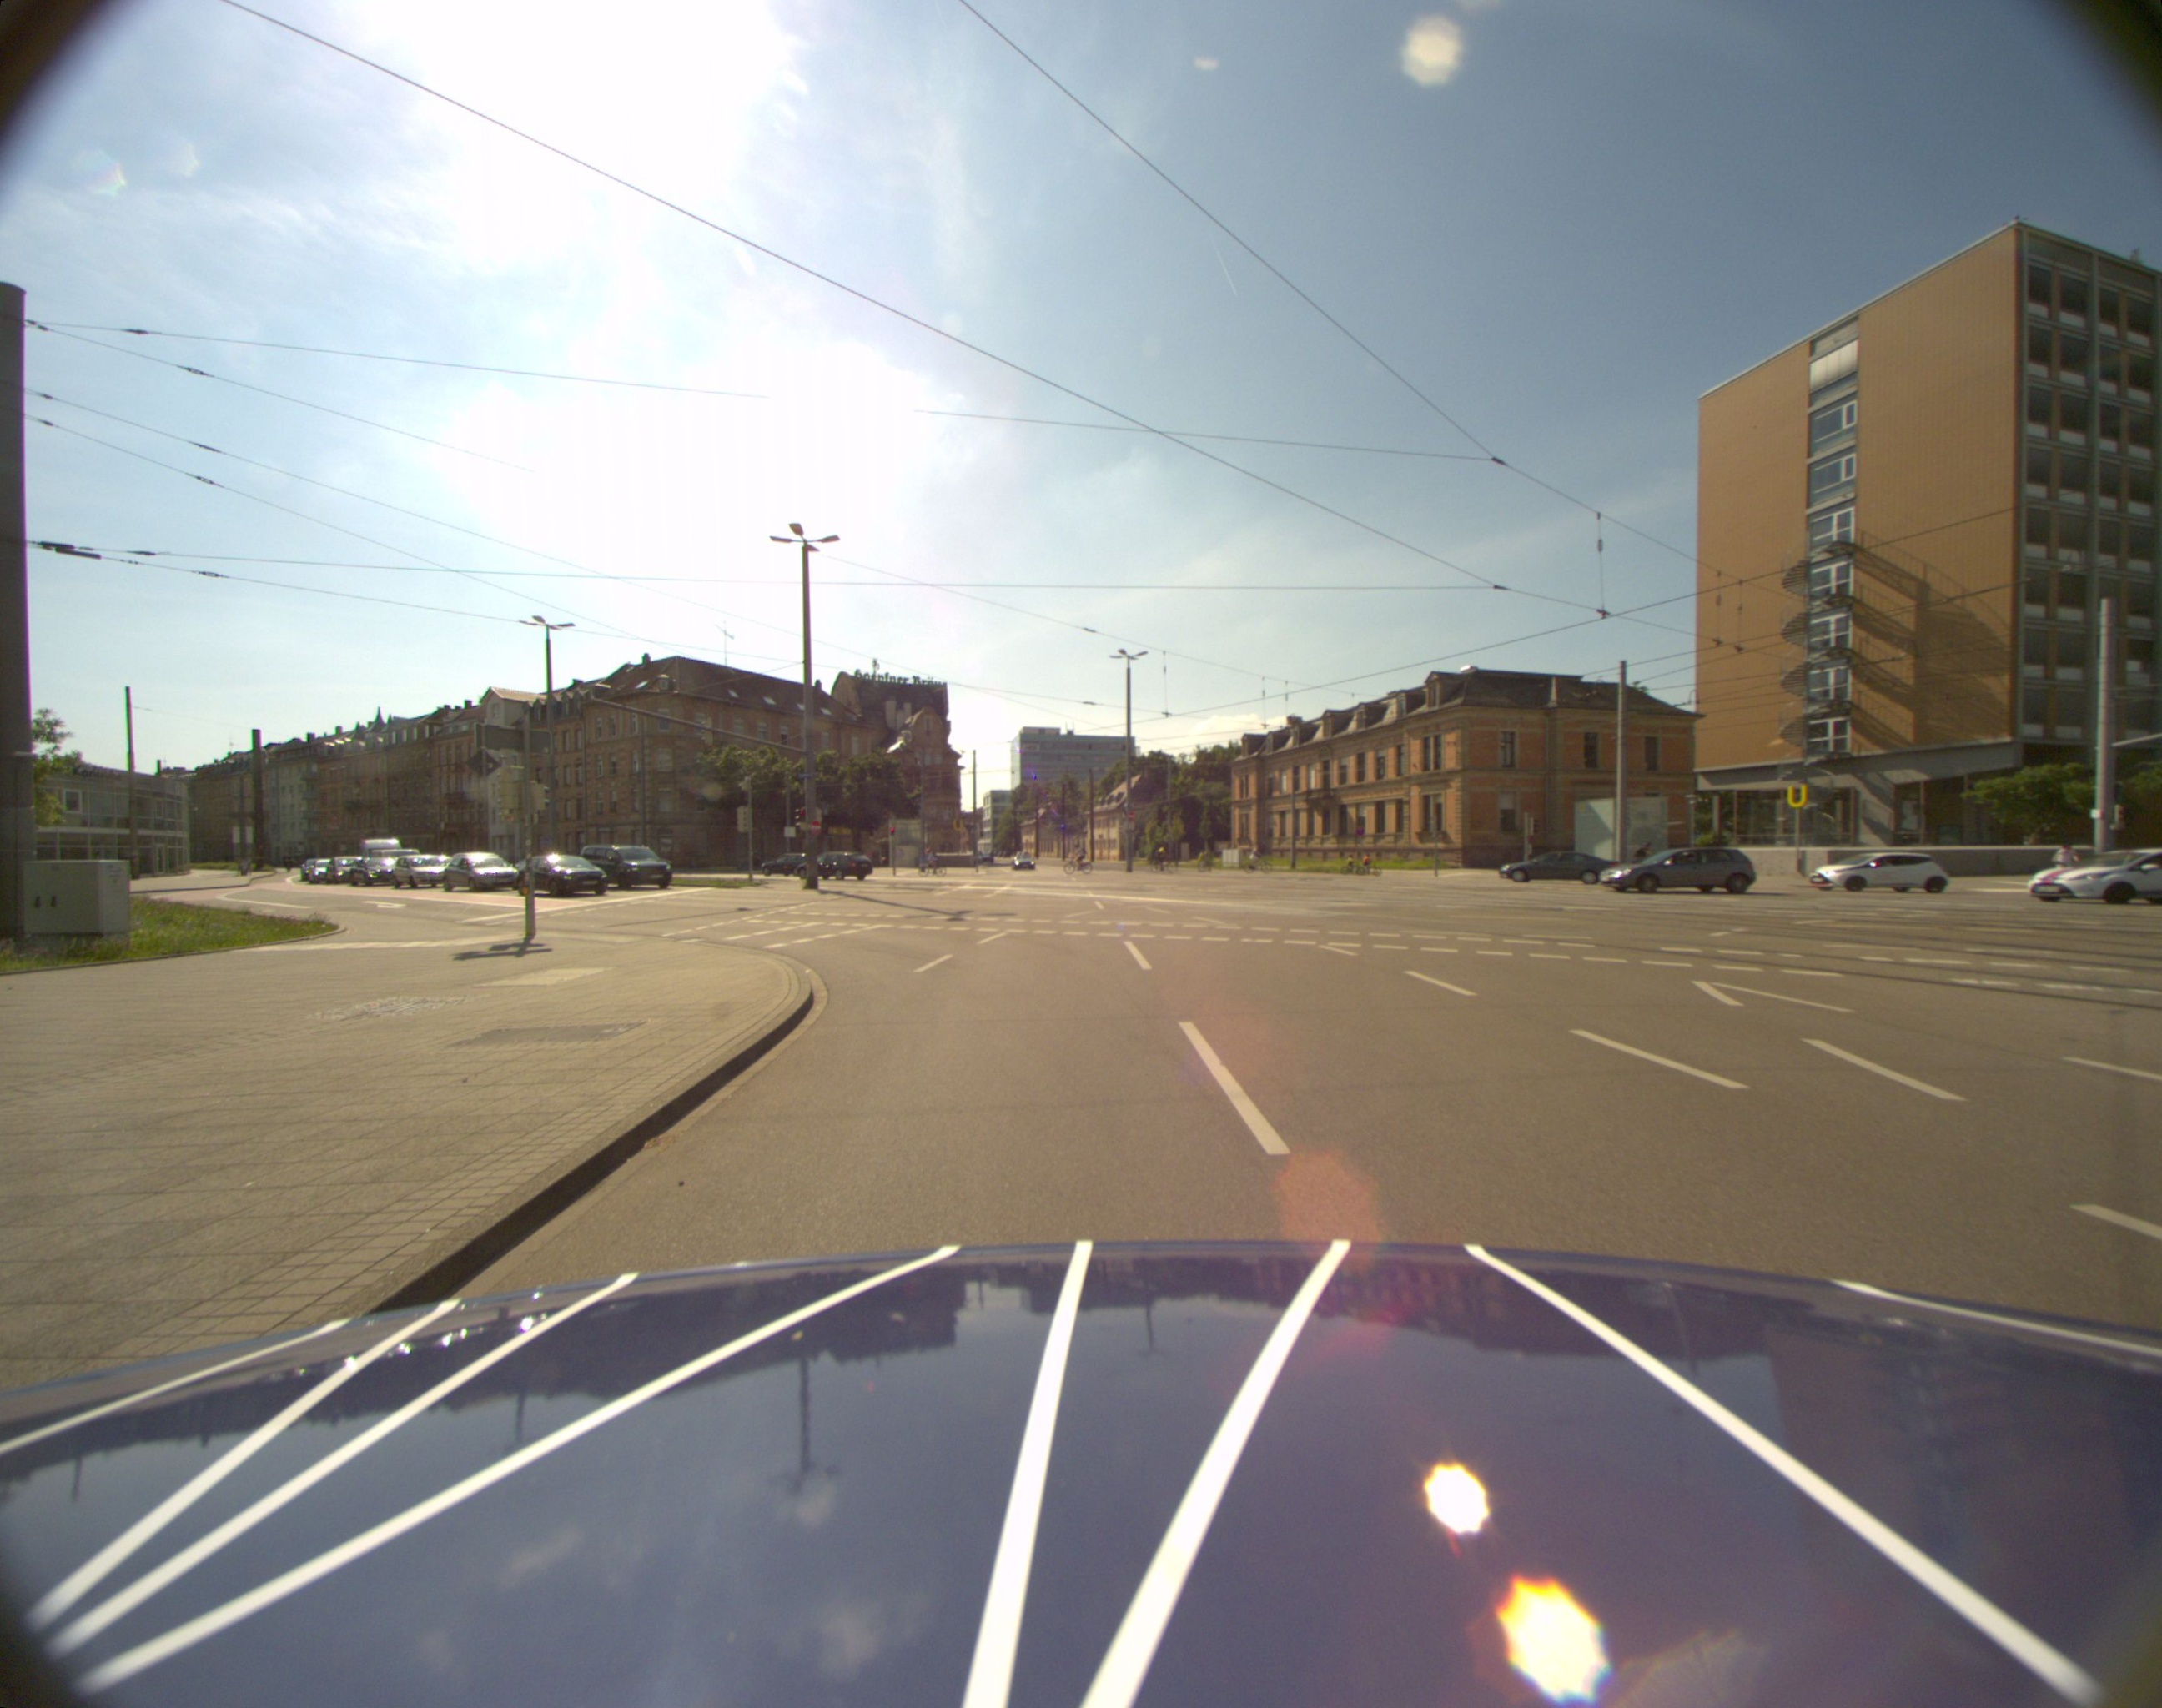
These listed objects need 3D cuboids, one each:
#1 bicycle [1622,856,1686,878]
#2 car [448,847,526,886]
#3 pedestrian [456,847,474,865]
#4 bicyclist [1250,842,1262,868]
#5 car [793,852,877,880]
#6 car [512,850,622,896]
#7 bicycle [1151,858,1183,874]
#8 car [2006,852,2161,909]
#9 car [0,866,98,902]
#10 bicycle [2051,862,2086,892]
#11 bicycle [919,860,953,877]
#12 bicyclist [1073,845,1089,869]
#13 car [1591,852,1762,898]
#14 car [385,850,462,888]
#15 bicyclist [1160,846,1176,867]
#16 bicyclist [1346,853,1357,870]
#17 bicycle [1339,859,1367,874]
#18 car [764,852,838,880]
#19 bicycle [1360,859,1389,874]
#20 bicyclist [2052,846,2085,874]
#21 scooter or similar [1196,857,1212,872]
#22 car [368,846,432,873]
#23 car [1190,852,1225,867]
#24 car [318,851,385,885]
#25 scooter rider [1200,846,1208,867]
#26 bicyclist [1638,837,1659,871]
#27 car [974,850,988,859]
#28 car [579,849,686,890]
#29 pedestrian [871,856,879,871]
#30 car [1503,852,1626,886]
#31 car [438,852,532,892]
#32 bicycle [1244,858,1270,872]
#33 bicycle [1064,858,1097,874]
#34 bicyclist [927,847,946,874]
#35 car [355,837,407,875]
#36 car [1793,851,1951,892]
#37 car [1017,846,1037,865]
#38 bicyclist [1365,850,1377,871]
[{"bbox_3d":[27.829,0.613,36.933,2.456,1.063,0.670,0,1,39],"label":"bicycle"},{"bbox_3d":[-31.057,0.670,39.717,4.189,1.905,1.904,-1,0,33],"label":"car"},{"bbox_3d":[-48.370,0.174,59.650,0.887,1.424,0.711,-1,1,-22],"label":"pedestrian"},{"bbox_3d":[11.143,0.065,48.347,0.648,1.611,0.503,0,-1,21],"label":"bicyclist"},{"bbox_3d":[-13.271,0.607,40.935,4.766,1.427,1.639,0,1,32],"label":"car"},{"bbox_3d":[-19.312,0.698,28.510,4.198,1.578,1.901,-1,1,33],"label":"car"},{"bbox_3d":[5.757,0.796,50.781,2.021,1.062,0.686,-1,-1,23],"label":"bicycle"},{"bbox_3d":[27.035,0.664,19.640,3.858,1.406,1.657,0,1,8],"label":"car"},{"bbox_3d":[-43.265,1.196,30.436,1.440,1.427,4.609,-1,-2,30],"label":"car"},{"bbox_3d":[37.857,0.858,29.137,1.922,1.010,0.714,-4,3,-40],"label":"bicycle"},{"bbox_3d":[-9.128,0.885,47.937,2.015,1.010,0.717,0,3,24],"label":"bicycle"},{"bbox_3d":[0.009,0.210,47.015,0.949,1.478,0.716,0,-1,-2],"label":"bicyclist"},{"bbox_3d":[19.450,0.652,24.988,4.112,1.416,1.653,0,1,13],"label":"car"},{"bbox_3d":[-31.654,0.735,36.545,4.189,1.729,1.660,-1,0,33],"label":"car"},{"bbox_3d":[5.795,0.175,50.775,0.907,1.412,0.686,-1,-1,22],"label":"bicyclist"},{"bbox_3d":[16.490,0.441,46.292,0.604,1.023,0.502,0,-1,14],"label":"bicyclist"},{"bbox_3d":[16.547,0.757,46.274,1.584,0.860,0.502,0,-1,14],"label":"bicycle"},{"bbox_3d":[-17.586,0.711,47.717,4.386,1.422,1.708,4,3,23],"label":"car"},{"bbox_3d":[17.439,0.751,45.168,1.572,0.881,0.520,1,1,13],"label":"bicycle"},{"bbox_3d":[37.888,0.231,29.154,0.918,1.023,0.714,-4,3,-40],"label":"bicyclist"},{"bbox_3d":[8.181,0.701,50.621,0.990,0.970,0.589,-1,-1,16],"label":"scooter or similar"},{"bbox_3d":[-43.441,0.323,48.432,5.014,1.671,2.197,0,1,39],"label":"car"},{"bbox_3d":[11.059,0.450,66.658,1.673,1.306,3.447,-1,1,-17],"label":"car"},{"bbox_3d":[-41.609,0.790,43.310,4.189,1.835,1.816,-1,0,33],"label":"car"},{"bbox_3d":[8.200,0.170,50.623,0.406,1.388,0.589,-1,-1,16],"label":"scooter rider"},{"bbox_3d":[27.622,0.007,36.981,0.780,1.615,0.670,0,2,40],"label":"bicyclist"},{"bbox_3d":[-14.913,0.013,113.151,1.639,1.337,3.578,-1,1,-15],"label":"car"},{"bbox_3d":[-18.919,0.596,32.019,4.702,1.578,1.971,0,1,33],"label":"car"},{"bbox_3d":[-19.664,0.940,72.522,0.713,1.424,0.613,0,-1,-22],"label":"pedestrian"},{"bbox_3d":[21.788,0.626,34.329,4.515,1.427,1.639,0,1,38],"label":"car"},{"bbox_3d":[-25.299,0.761,32.241,3.989,1.578,1.904,-1,0,33],"label":"car"},{"bbox_3d":[11.205,0.698,48.319,1.583,0.860,0.503,0,-1,21],"label":"bicycle"},{"bbox_3d":[-0.038,0.744,47.012,2.019,1.009,0.716,0,-1,-1],"label":"bicycle"},{"bbox_3d":[-9.133,0.385,47.899,0.872,1.660,0.717,0,3,24],"label":"bicyclist"},{"bbox_3d":[-50.056,0.201,54.306,5.858,2.559,2.221,-2,-2,42],"label":"car"},{"bbox_3d":[29.437,0.633,28.412,3.753,1.466,1.684,0,1,14],"label":"car"},{"bbox_3d":[-4.578,0.104,64.629,1.638,1.574,3.998,0,1,-4],"label":"car"},{"bbox_3d":[17.237,0.388,45.164,0.602,1.190,0.520,1,1,13],"label":"bicyclist"}]
